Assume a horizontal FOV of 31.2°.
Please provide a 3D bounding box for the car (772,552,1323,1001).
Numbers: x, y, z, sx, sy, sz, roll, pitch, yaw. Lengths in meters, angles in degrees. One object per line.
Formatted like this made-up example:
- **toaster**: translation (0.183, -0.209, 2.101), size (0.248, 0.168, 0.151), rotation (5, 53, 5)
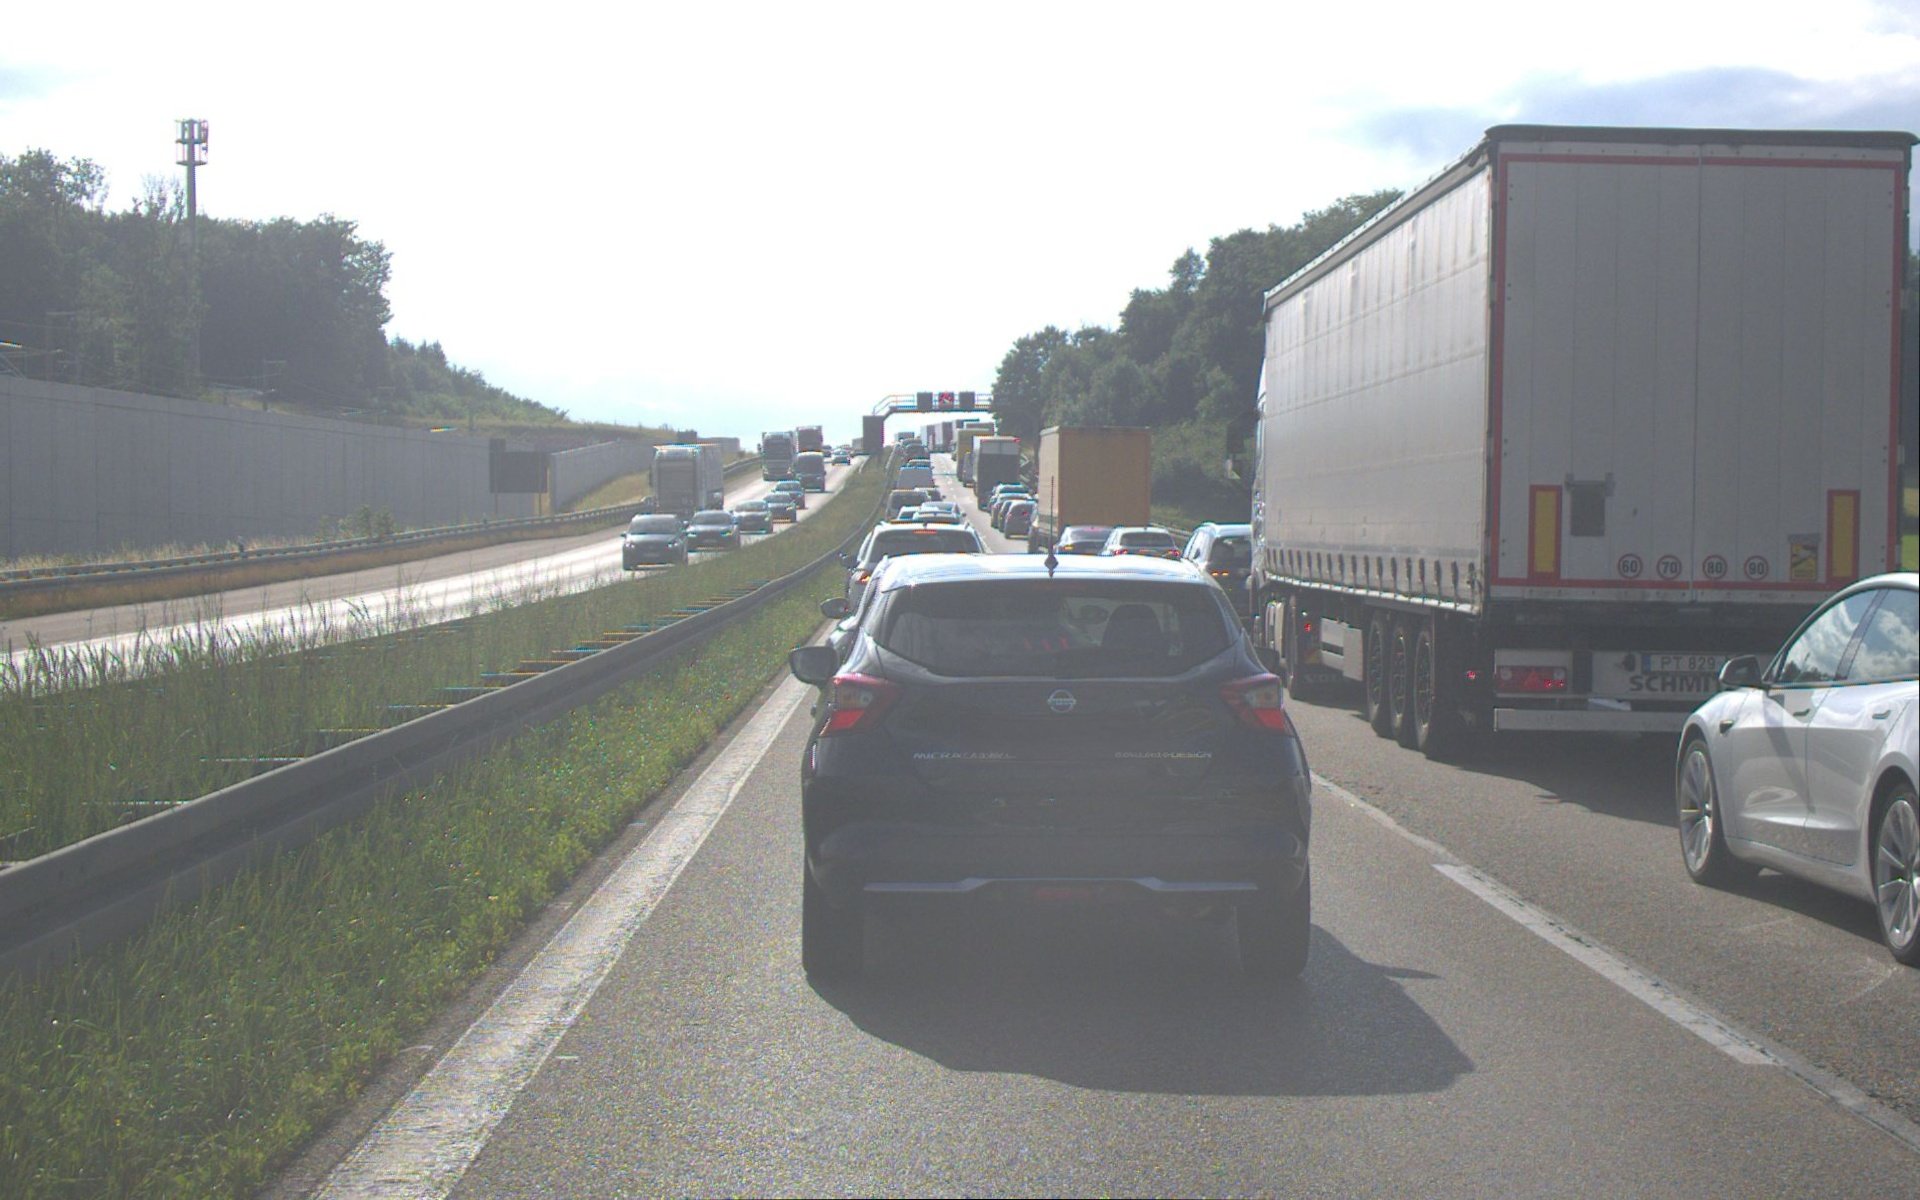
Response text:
- **car**: translation (0.267, 0.541, 13.201), size (1.773, 1.446, 4.232), rotation (0, 1, 0)

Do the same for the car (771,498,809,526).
- **car**: translation (-8.733, -4.513, 176.870), size (1.742, 1.353, 4.232), rotation (0, 1, 0)

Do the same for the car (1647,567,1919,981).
- **car**: translation (4.127, 0.591, 13.478), size (1.788, 1.389, 4.437), rotation (0, 1, -3)

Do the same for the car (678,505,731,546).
- **car**: translation (-9.487, -2.769, 127.933), size (1.697, 1.494, 4.427), rotation (0, 1, -1)

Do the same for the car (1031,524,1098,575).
- **car**: translation (3.372, -1.664, 111.930), size (1.873, 1.638, 4.233), rotation (0, 1, -2)

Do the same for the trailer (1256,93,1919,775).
- **trailer**: translation (4.501, -0.972, 26.991), size (3.130, 3.997, 13.366), rotation (1, 0, 0)

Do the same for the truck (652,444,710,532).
- **truck**: translation (-13.594, -5.449, 168.017), size (2.380, 4.167, 5.932), rotation (-1, 1, -1)

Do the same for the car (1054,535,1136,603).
- **car**: translation (3.394, -0.805, 87.266), size (1.873, 1.638, 4.232), rotation (0, 1, 0)

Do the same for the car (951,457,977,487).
- **car**: translation (0.299, -9.516, 255.186), size (1.873, 2.151, 5.212), rotation (0, 4, -1)

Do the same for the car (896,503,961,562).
- **car**: translation (-0.925, -2.016, 101.964), size (1.873, 1.638, 4.233), rotation (0, 2, 0)

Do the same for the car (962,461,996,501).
- **car**: translation (1.092, -6.953, 200.061), size (1.873, 2.151, 5.212), rotation (0, 4, -1)

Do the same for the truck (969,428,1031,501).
- **truck**: translation (2.564, -8.880, 225.602), size (3.464, 4.561, 12.443), rotation (1, 2, -2)

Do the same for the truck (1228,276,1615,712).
- **truck**: translation (4.482, -0.988, 34.450), size (3.133, 4.002, 5.163), rotation (1, 0, 0)

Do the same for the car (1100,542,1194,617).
- **car**: translation (4.201, -0.479, 77.757), size (1.873, 1.638, 4.232), rotation (0, 1, 0)

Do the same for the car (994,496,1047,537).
- **car**: translation (2.495, -3.499, 143.051), size (1.873, 1.638, 4.233), rotation (0, 2, -4)

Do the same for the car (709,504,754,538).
- **car**: translation (-10.402, -3.592, 156.471), size (1.769, 1.474, 3.829), rotation (0, 1, 0)

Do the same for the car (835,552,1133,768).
- **car**: translation (0.138, 0.351, 23.751), size (1.873, 1.353, 4.232), rotation (0, 1, 0)

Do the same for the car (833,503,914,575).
- **car**: translation (-2.050, -1.486, 82.500), size (1.873, 1.638, 4.233), rotation (0, 2, 0)

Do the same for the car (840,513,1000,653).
- **car**: translation (-0.484, -0.225, 42.565), size (1.873, 1.638, 4.232), rotation (0, 1, 0)

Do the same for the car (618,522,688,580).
- **car**: translation (-9.313, -1.479, 104.599), size (1.781, 1.731, 4.102), rotation (0, 1, 0)

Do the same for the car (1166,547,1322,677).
- **car**: translation (3.632, 0.116, 44.546), size (1.697, 1.605, 4.437), rotation (0, 1, 1)

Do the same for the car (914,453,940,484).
- **car**: translation (-2.424, -9.652, 251.901), size (1.873, 2.151, 5.212), rotation (0, 4, -1)

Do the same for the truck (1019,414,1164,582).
- **truck**: translation (3.733, -2.840, 100.688), size (3.296, 4.562, 12.442), rotation (1, 0, -2)

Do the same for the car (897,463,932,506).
- **car**: translation (-2.468, -6.302, 186.768), size (1.873, 2.151, 5.212), rotation (0, 4, -1)

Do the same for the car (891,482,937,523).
- **car**: translation (-1.927, -4.064, 142.902), size (1.873, 1.638, 4.233), rotation (0, 2, -2)
